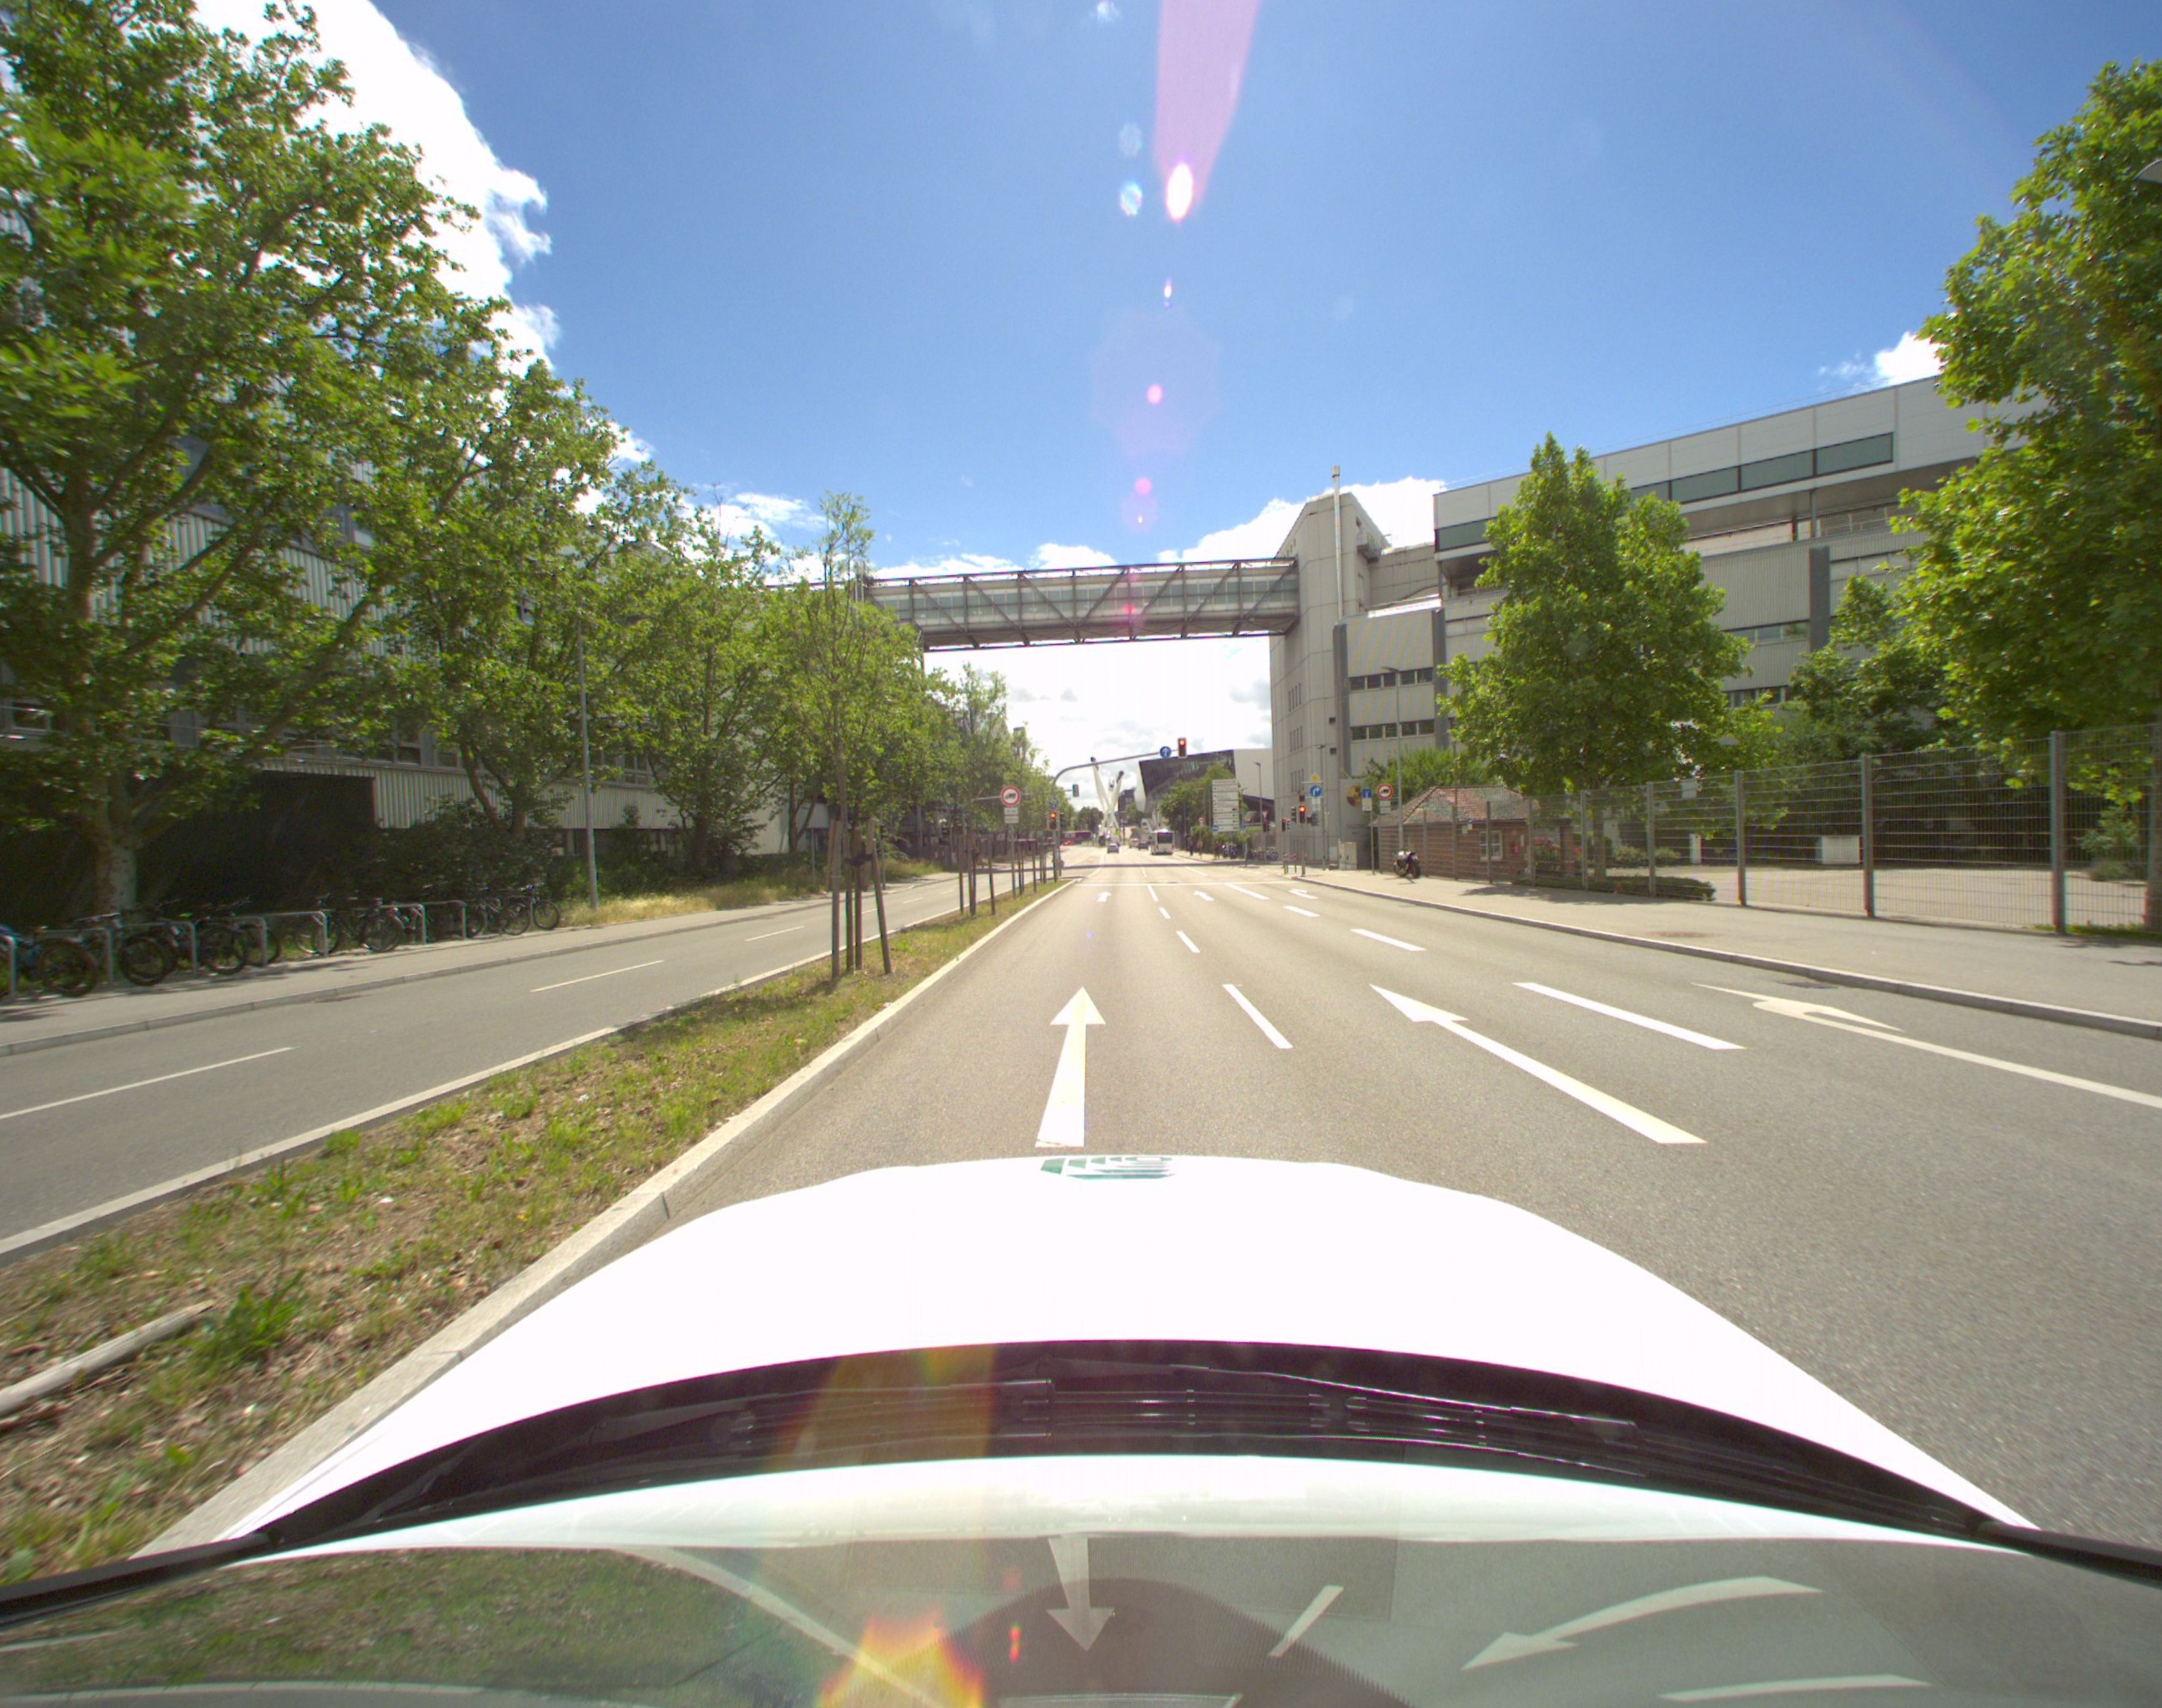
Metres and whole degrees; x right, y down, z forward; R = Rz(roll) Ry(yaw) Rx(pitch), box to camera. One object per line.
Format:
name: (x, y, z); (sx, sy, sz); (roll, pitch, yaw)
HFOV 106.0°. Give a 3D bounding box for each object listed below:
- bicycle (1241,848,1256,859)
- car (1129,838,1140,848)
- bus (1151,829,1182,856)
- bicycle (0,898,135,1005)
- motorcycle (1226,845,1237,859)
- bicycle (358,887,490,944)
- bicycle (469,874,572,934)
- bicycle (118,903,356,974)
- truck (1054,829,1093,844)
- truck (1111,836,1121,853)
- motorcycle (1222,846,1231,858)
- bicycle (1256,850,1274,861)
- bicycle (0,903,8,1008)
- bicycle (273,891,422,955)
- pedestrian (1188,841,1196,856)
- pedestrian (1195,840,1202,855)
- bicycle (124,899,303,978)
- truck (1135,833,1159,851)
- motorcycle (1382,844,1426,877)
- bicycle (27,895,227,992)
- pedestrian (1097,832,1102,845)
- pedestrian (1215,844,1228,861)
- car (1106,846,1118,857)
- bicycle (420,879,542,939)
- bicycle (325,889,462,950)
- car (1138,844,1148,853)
bicycle: (14.561, -0.058, 70.877); (0.398, 0.937, 1.918); (-1, 0, -16)
car: (11.553, -2.453, 175.509); (1.988, 2.014, 3.998); (0, -1, -1)
bus: (11.768, -1.580, 112.849); (3.439, 3.543, 10.611); (-1, 0, 2)
bicycle: (-13.798, 1.264, 10.633); (1.912, 1.282, 0.806); (-1, 0, 0)
motorcycle: (13.792, -0.161, 74.631); (0.703, 1.203, 2.026); (-3, 1, 3)
bicycle: (-14.131, 1.310, 17.530); (2.548, 1.157, 0.728); (-1, 0, 11)
bicycle: (-13.440, 1.187, 19.546); (2.157, 1.363, 0.490); (-1, 0, 3)
bicycle: (-14.105, 1.391, 13.695); (2.832, 1.006, 0.849); (-1, 0, -7)
truck: (-2.258, -5.471, 257.931); (12.195, 4.324, 3.542); (0, -1, -28)
truck: (8.449, -2.297, 195.946); (2.382, 3.897, 6.182); (-1, 0, 3)
motorcycle: (14.780, -0.201, 82.602); (0.572, 1.203, 2.026); (-3, 1, 3)
bicycle: (15.463, 0.124, 68.546); (0.399, 0.937, 1.914); (-1, 0, -23)
bicycle: (-14.399, 1.278, 9.696); (2.127, 1.282, 0.806); (-1, 0, 0)
bicycle: (-14.024, 1.323, 15.576); (2.548, 1.096, 0.698); (-2, 0, 11)
pedestrian: (13.135, -0.673, 96.269); (0.817, 1.707, 0.882); (-1, 0, 3)
pedestrian: (13.781, -0.750, 95.476); (0.633, 1.741, 0.822); (-1, 0, -3)
bicycle: (-13.588, 1.311, 12.797); (1.912, 1.122, 0.806); (-1, 0, 0)
truck: (16.378, -2.907, 201.658); (3.423, 4.391, 9.468); (-1, 0, 20)
motorcycle: (12.173, 0.232, 30.792); (0.691, 1.158, 2.146); (-3, 0, -2)
bicycle: (-13.778, 1.268, 11.801); (1.912, 1.282, 0.806); (-1, 0, 0)
pedestrian: (5.274, -4.483, 231.665); (1.410, 3.600, 1.284); (-1, 0, 1)
pedestrian: (13.744, -0.159, 79.707); (0.839, 1.624, 0.962); (-1, 0, 44)
car: (4.928, -0.411, 128.257); (1.731, 1.741, 3.694); (-1, 0, 3)
bicycle: (-13.527, 1.230, 18.382); (2.394, 1.258, 0.556); (-1, 0, 3)
bicycle: (-13.807, 1.303, 16.363); (2.548, 1.157, 0.646); (-1, 0, 11)
car: (11.399, -0.997, 149.394); (1.731, 1.741, 3.694); (-1, 0, 3)
